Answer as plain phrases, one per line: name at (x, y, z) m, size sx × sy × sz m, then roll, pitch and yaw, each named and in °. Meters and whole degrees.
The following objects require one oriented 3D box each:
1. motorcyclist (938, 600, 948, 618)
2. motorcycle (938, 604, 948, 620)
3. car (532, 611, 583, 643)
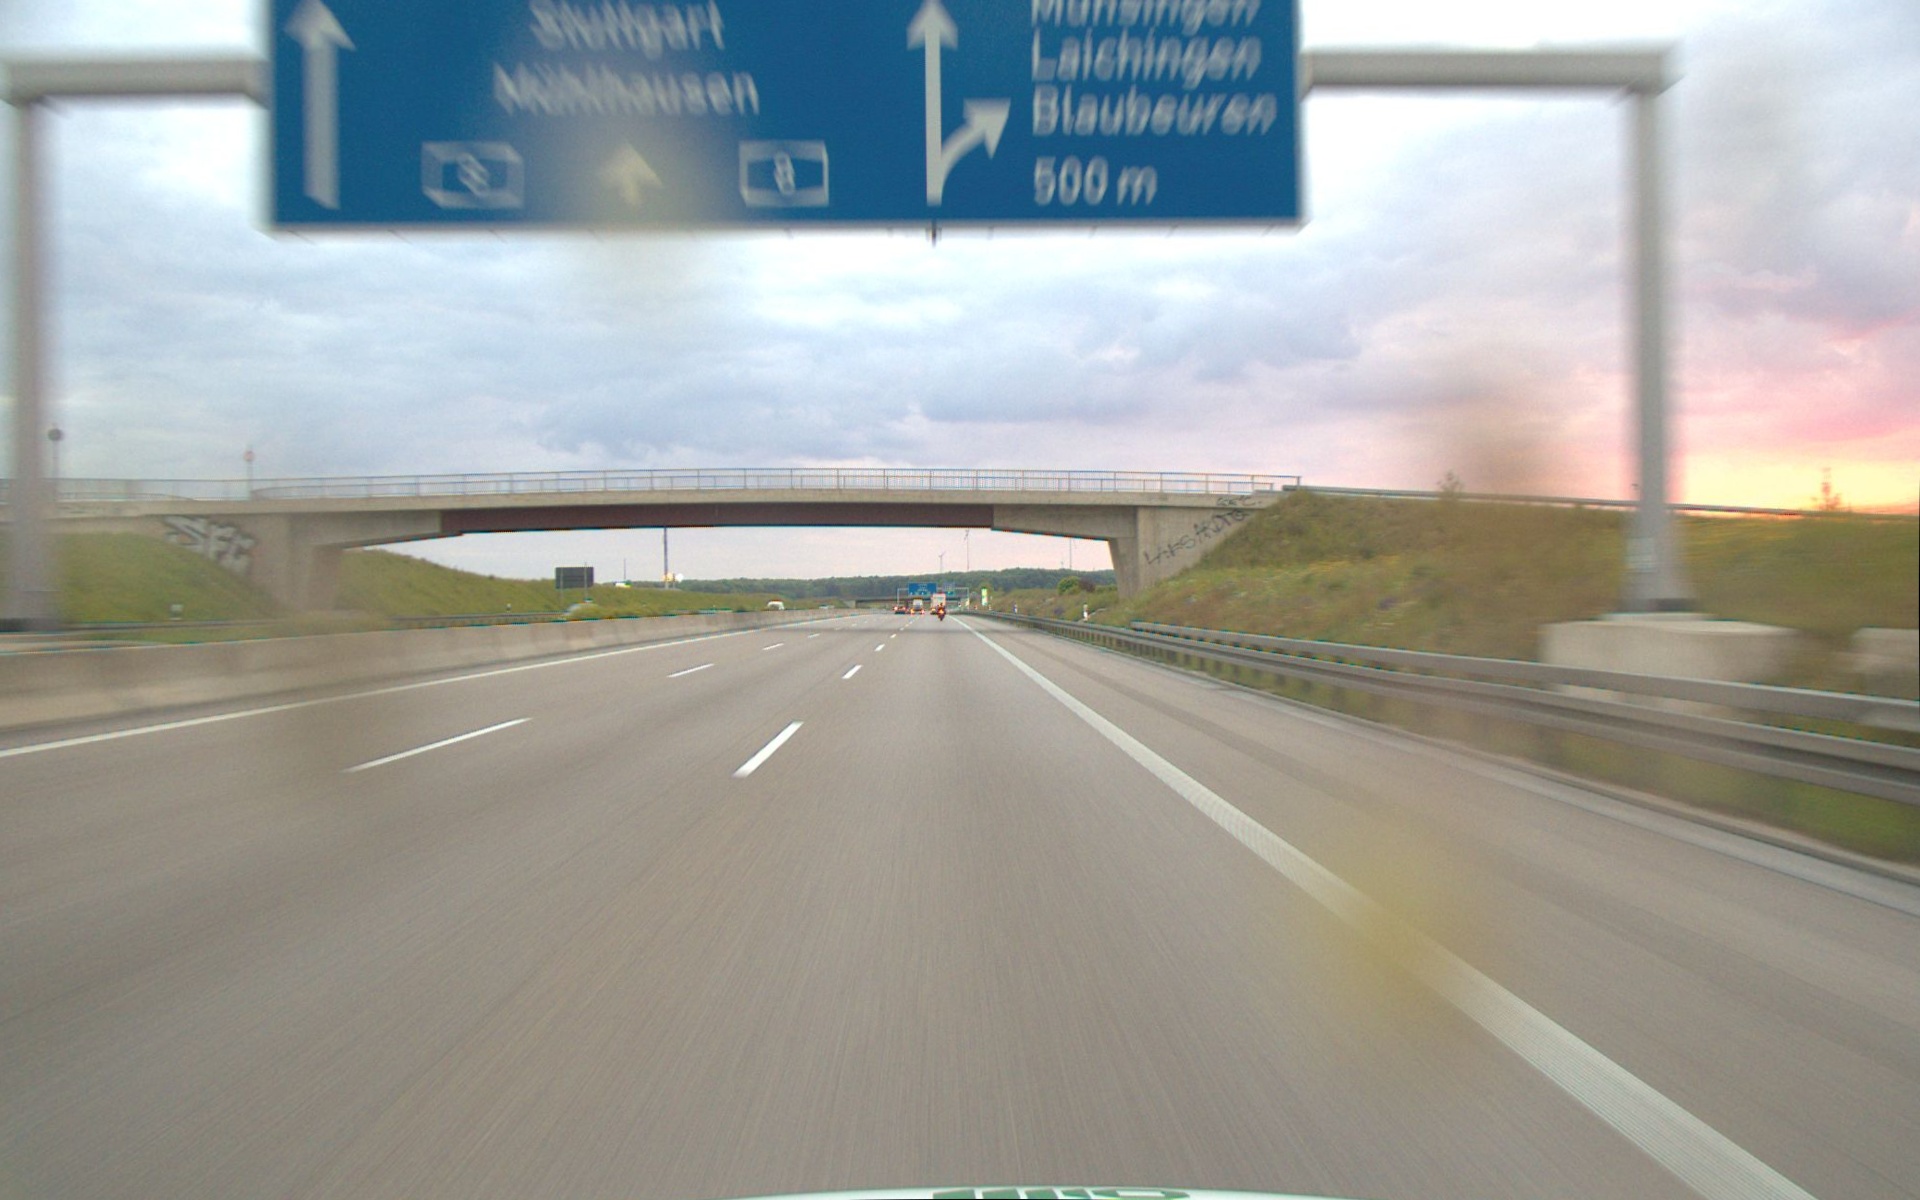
motorcyclist at (-1.439, 0.795, 141.191) m, size 0.848 × 1.514 × 1.168 m, roll 1°, pitch 0°, yaw 0°
motorcycle at (-1.442, 1.018, 141.225) m, size 0.883 × 1.370 × 2.348 m, roll 0°, pitch 0°, yaw -1°
car at (-21.332, 1.419, 87.841) m, size 1.719 × 1.579 × 4.359 m, roll 1°, pitch 0°, yaw -2°
